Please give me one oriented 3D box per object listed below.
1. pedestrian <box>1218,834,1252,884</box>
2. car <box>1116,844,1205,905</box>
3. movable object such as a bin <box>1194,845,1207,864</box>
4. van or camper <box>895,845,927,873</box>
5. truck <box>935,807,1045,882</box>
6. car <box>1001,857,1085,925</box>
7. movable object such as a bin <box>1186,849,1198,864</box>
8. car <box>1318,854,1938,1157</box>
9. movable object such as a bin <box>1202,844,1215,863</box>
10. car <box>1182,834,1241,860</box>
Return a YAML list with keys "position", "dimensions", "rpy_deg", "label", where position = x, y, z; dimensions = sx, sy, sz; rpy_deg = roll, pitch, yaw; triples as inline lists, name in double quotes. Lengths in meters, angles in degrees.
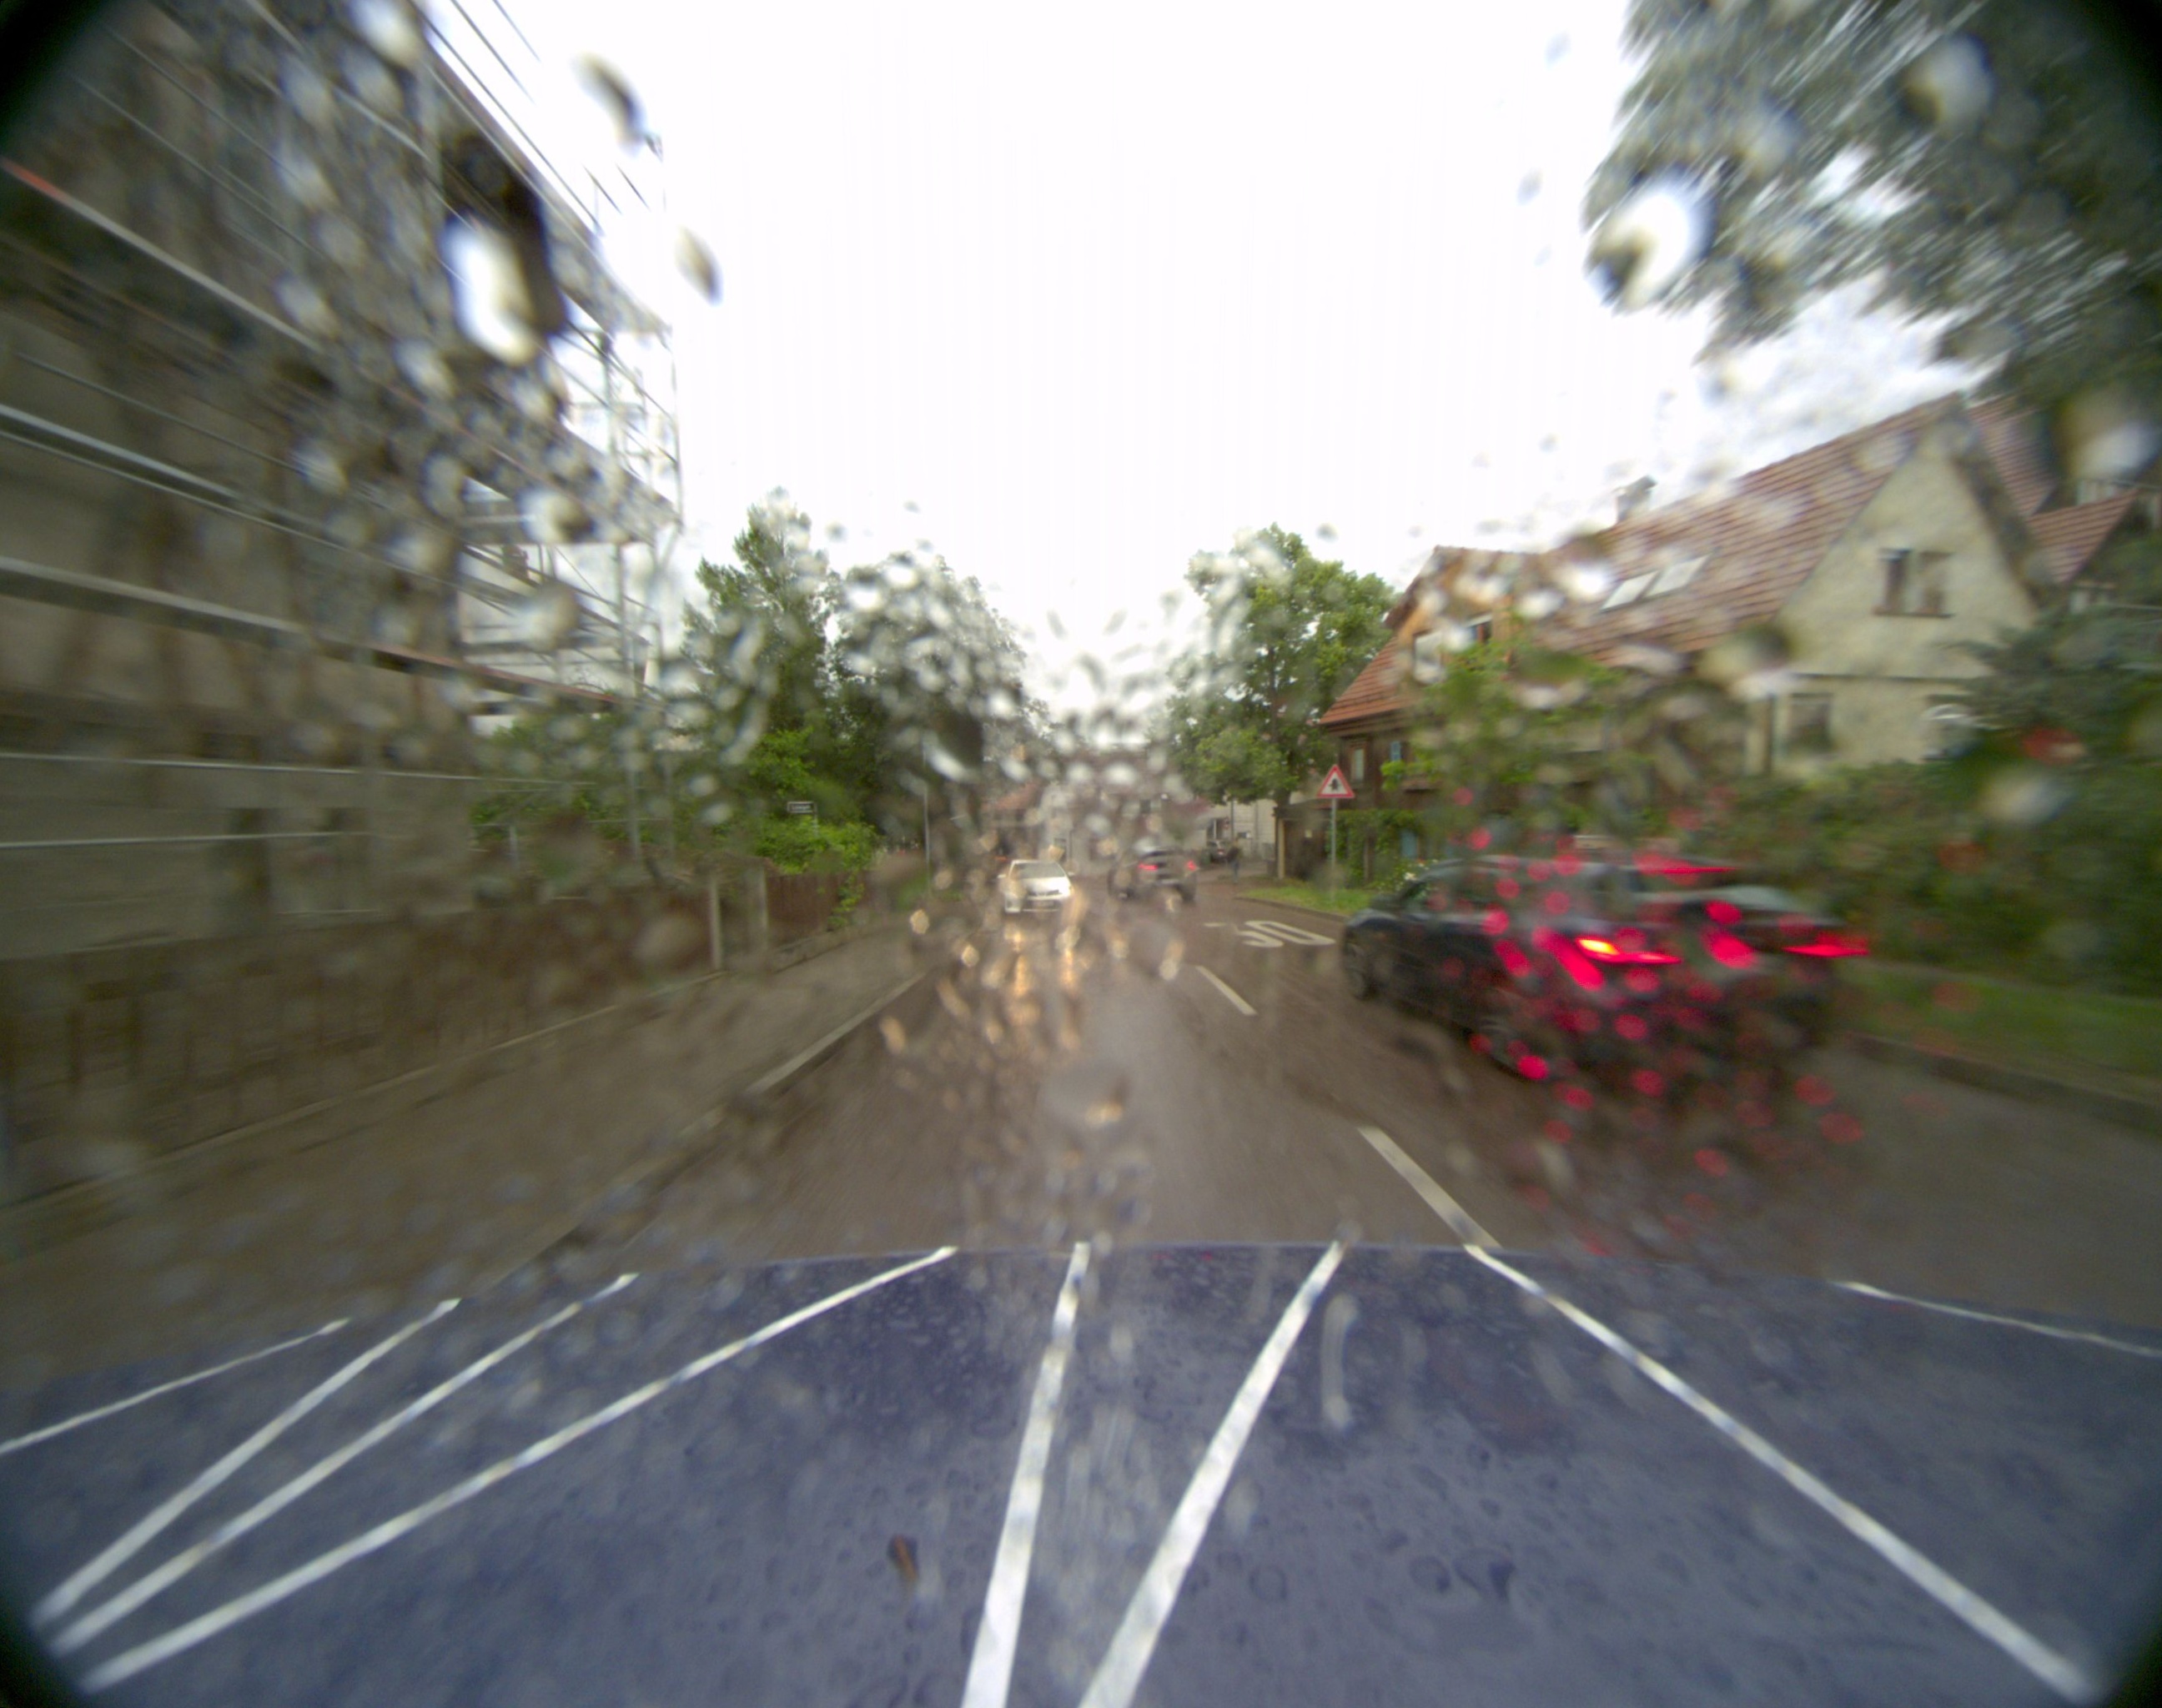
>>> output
- position: [5.890, 0.184, 29.072]
  dimensions: [0.971, 1.820, 0.894]
  rpy_deg: [-3, 1, -7]
  label: "pedestrian"
- position: [2.318, 0.560, 23.221]
  dimensions: [1.893, 1.606, 4.137]
  rpy_deg: [-2, 1, -5]
  label: "car"
- position: [7.321, 0.039, 46.539]
  dimensions: [0.546, 1.117, 0.516]
  rpy_deg: [-3, 1, -24]
  label: "movable object such as a bin"
- position: [-16.197, 0.472, 72.265]
  dimensions: [2.002, 2.519, 4.735]
  rpy_deg: [-2, 1, -25]
  label: "van or camper"
- position: [-5.764, -0.489, 45.675]
  dimensions: [2.861, 3.945, 10.407]
  rpy_deg: [-3, 1, -28]
  label: "truck"
- position: [-1.109, 0.873, 20.019]
  dimensions: [1.860, 1.427, 4.014]
  rpy_deg: [-3, 1, -7]
  label: "car"
- position: [6.780, 0.155, 46.361]
  dimensions: [0.518, 0.935, 0.500]
  rpy_deg: [-3, 1, -24]
  label: "movable object such as a bin"
- position: [3.425, 0.768, 5.886]
  dimensions: [1.769, 1.432, 4.063]
  rpy_deg: [-2, 0, -2]
  label: "car"
- position: [7.855, -0.024, 46.751]
  dimensions: [0.531, 1.117, 0.516]
  rpy_deg: [-3, 1, -24]
  label: "movable object such as a bin"
- position: [8.425, -0.426, 49.424]
  dimensions: [1.729, 1.524, 3.992]
  rpy_deg: [-3, 1, -26]
  label: "car"
